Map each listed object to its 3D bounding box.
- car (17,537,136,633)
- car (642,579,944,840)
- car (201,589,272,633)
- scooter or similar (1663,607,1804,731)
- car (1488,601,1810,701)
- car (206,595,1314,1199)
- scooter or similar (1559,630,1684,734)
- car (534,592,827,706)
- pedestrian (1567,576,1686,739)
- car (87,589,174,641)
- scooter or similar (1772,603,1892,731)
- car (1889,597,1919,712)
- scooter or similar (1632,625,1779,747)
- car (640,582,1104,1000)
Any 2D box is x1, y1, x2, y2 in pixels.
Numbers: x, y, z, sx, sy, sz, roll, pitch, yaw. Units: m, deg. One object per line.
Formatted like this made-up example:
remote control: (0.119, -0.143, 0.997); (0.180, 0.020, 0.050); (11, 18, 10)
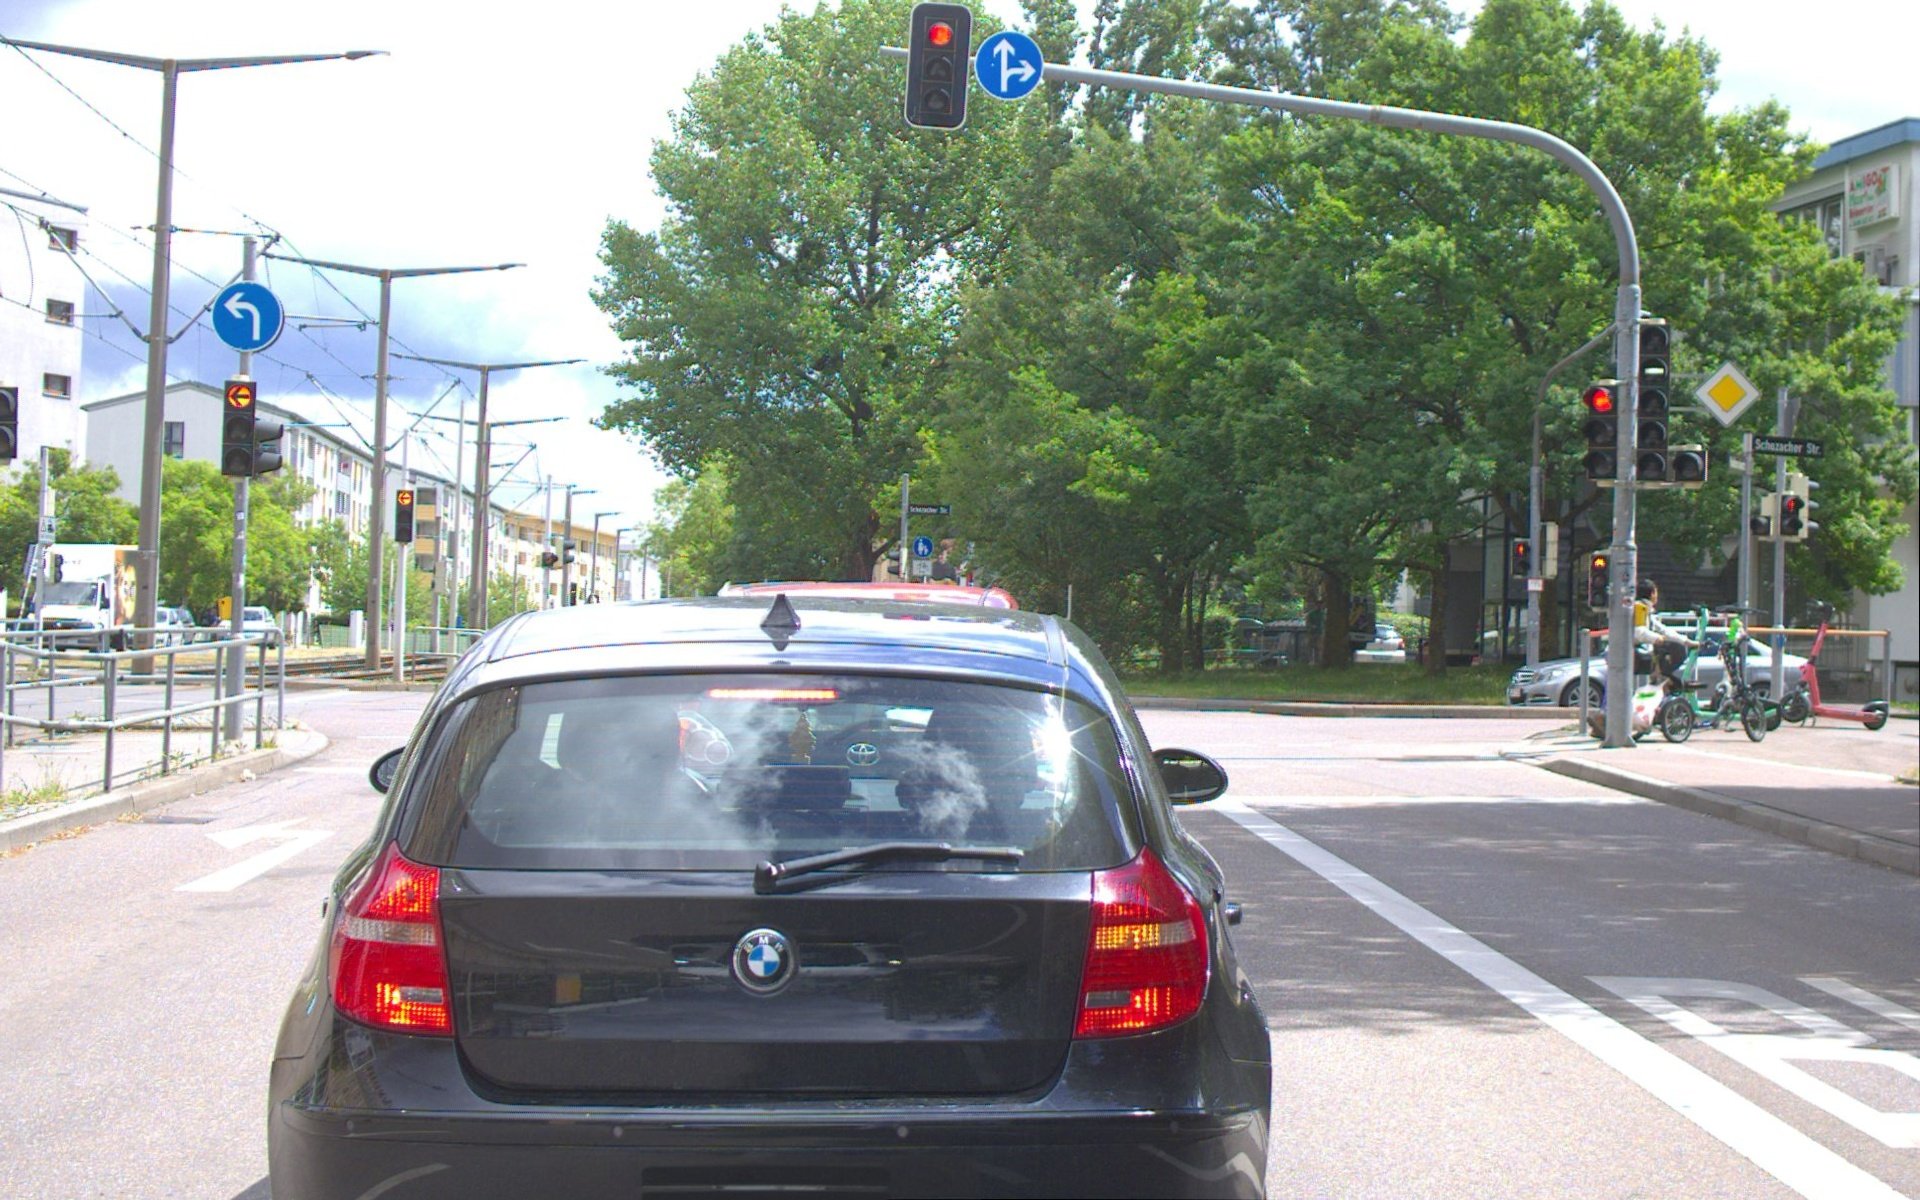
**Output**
car: (-25.135, -0.433, 97.954); (2.139, 2.631, 5.359); (1, 0, -2)
car: (-0.986, 0.597, 20.791); (1.654, 1.414, 3.517); (1, 1, -2)
car: (-27.363, 0.398, 130.115); (1.966, 1.590, 4.000); (1, 0, -3)
scooter or similar: (7.459, 0.662, 33.154); (1.287, 1.185, 0.385); (0, 0, -16)
car: (10.162, 0.752, 50.829); (4.322, 1.389, 1.713); (1, 0, -8)
car: (-0.269, 0.722, 6.920); (1.654, 1.414, 3.517); (1, 1, 1)
scooter or similar: (6.130, 0.759, 31.865); (1.119, 0.954, 0.300); (0, 0, -16)
car: (-3.946, 0.682, 48.273); (3.986, 1.521, 1.676); (1, 0, -8)
pedestrian: (6.018, 0.507, 31.034); (0.866, 1.438, 0.797); (1, 0, 26)
car: (-26.586, 0.470, 110.268); (1.966, 1.590, 4.000); (1, 0, -3)
scooter or similar: (8.623, 0.658, 33.989); (1.106, 1.253, 0.332); (0, 0, -12)
car: (15.137, 0.782, 48.382); (3.576, 1.595, 1.712); (1, 0, -12)
scooter or similar: (6.717, 0.759, 30.925); (0.410, 1.047, 1.782); (1, 1, 44)
car: (-0.300, 0.655, 13.699); (1.594, 1.414, 3.517); (1, 1, 0)
